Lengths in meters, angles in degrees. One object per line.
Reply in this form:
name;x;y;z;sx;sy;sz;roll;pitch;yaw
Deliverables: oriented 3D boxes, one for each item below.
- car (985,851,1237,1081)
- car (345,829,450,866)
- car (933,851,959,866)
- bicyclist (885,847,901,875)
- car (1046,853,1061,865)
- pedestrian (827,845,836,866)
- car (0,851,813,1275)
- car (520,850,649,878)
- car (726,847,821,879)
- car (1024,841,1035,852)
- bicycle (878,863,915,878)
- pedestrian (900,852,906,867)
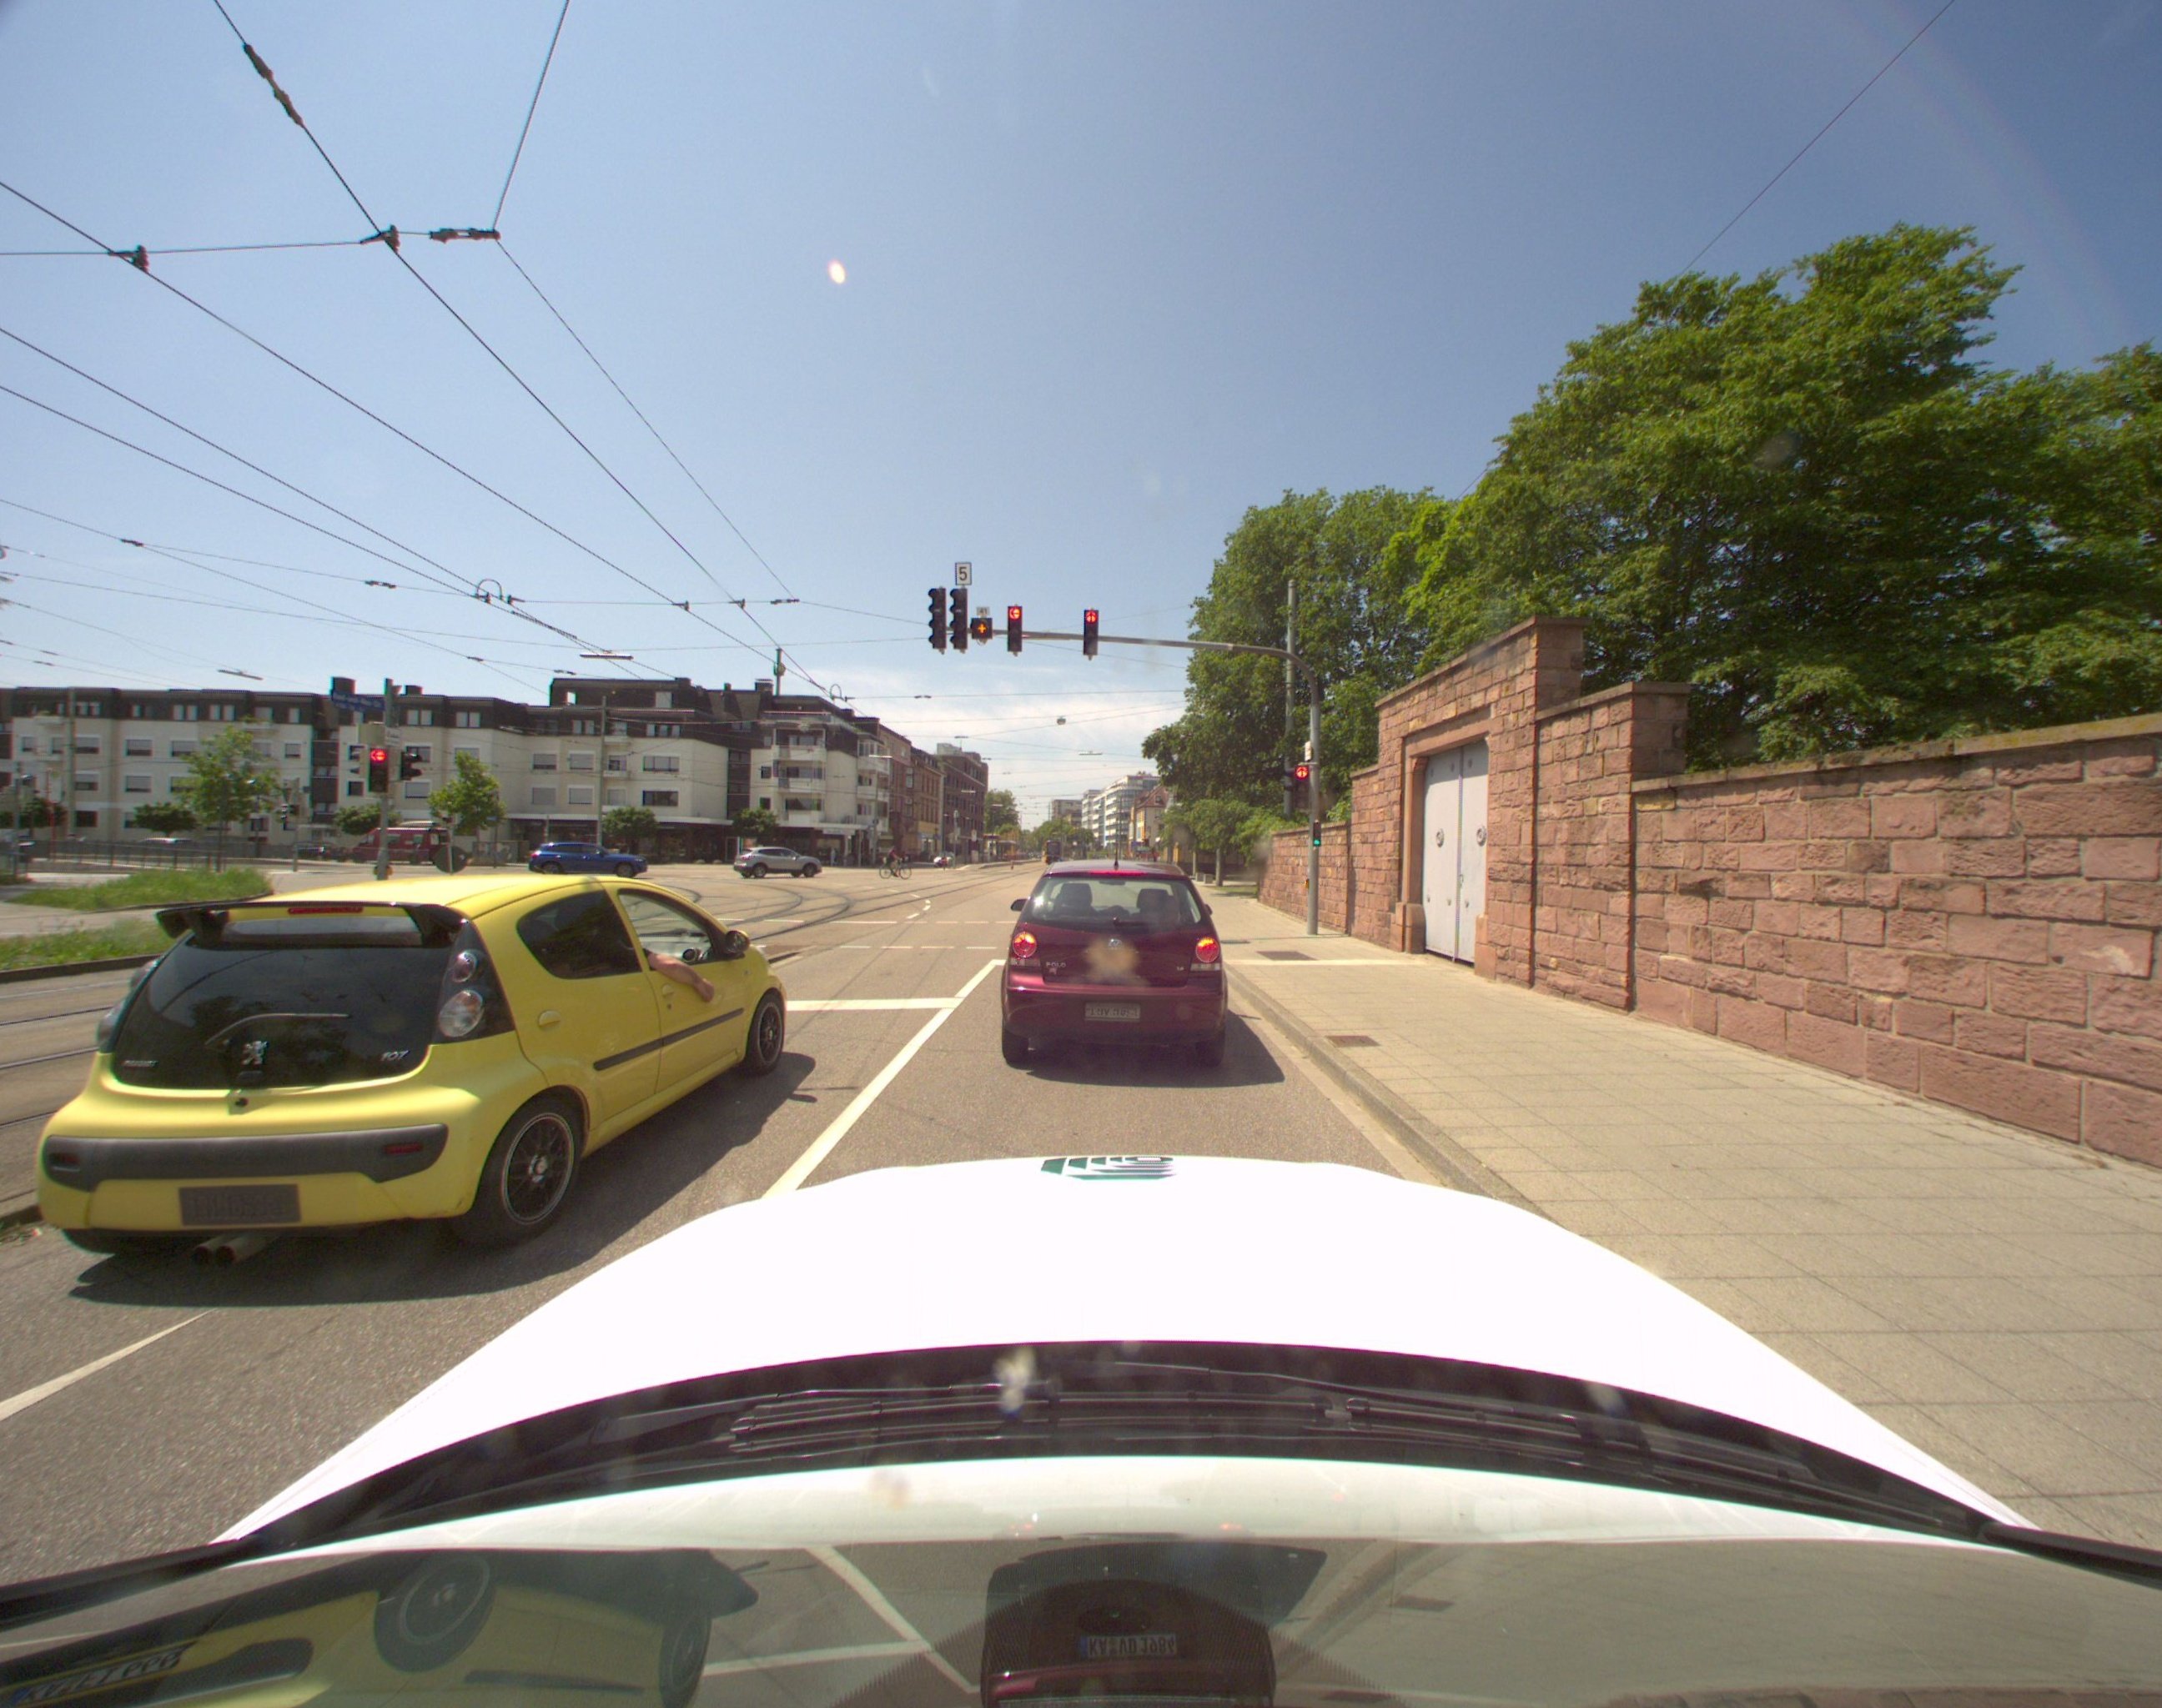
car;0.220;0.728;7.323;1.604;1.463;4.085;1;0;1
car;-45.500;-0.419;54.327;5.048;2.341;2.244;0;-1;0
car;-13.696;0.454;82.773;1.682;1.462;4.003;1;0;3
bicyclist;-10.288;0.381;44.537;0.756;1.501;0.476;0;-1;-38
car;-3.890;0.740;116.244;1.931;1.641;4.000;0;-1;1
pedestrian;-21.528;0.152;70.276;0.614;1.754;0.499;1;-2;-43
car;-2.924;0.724;4.488;1.717;1.445;3.293;-1;0;1
car;-22.714;0.436;37.476;4.788;1.237;1.925;0;-1;-22
car;-15.860;0.462;42.111;4.176;1.584;1.915;0;-1;-45
car;-9.673;-1.348;153.894;1.728;2.013;4.002;1;0;2
bicycle;-10.098;0.902;44.648;1.996;0.783;0.461;0;-1;-38
pedestrian;-18.157;0.578;82.985;0.481;1.541;0.539;0;-1;5
